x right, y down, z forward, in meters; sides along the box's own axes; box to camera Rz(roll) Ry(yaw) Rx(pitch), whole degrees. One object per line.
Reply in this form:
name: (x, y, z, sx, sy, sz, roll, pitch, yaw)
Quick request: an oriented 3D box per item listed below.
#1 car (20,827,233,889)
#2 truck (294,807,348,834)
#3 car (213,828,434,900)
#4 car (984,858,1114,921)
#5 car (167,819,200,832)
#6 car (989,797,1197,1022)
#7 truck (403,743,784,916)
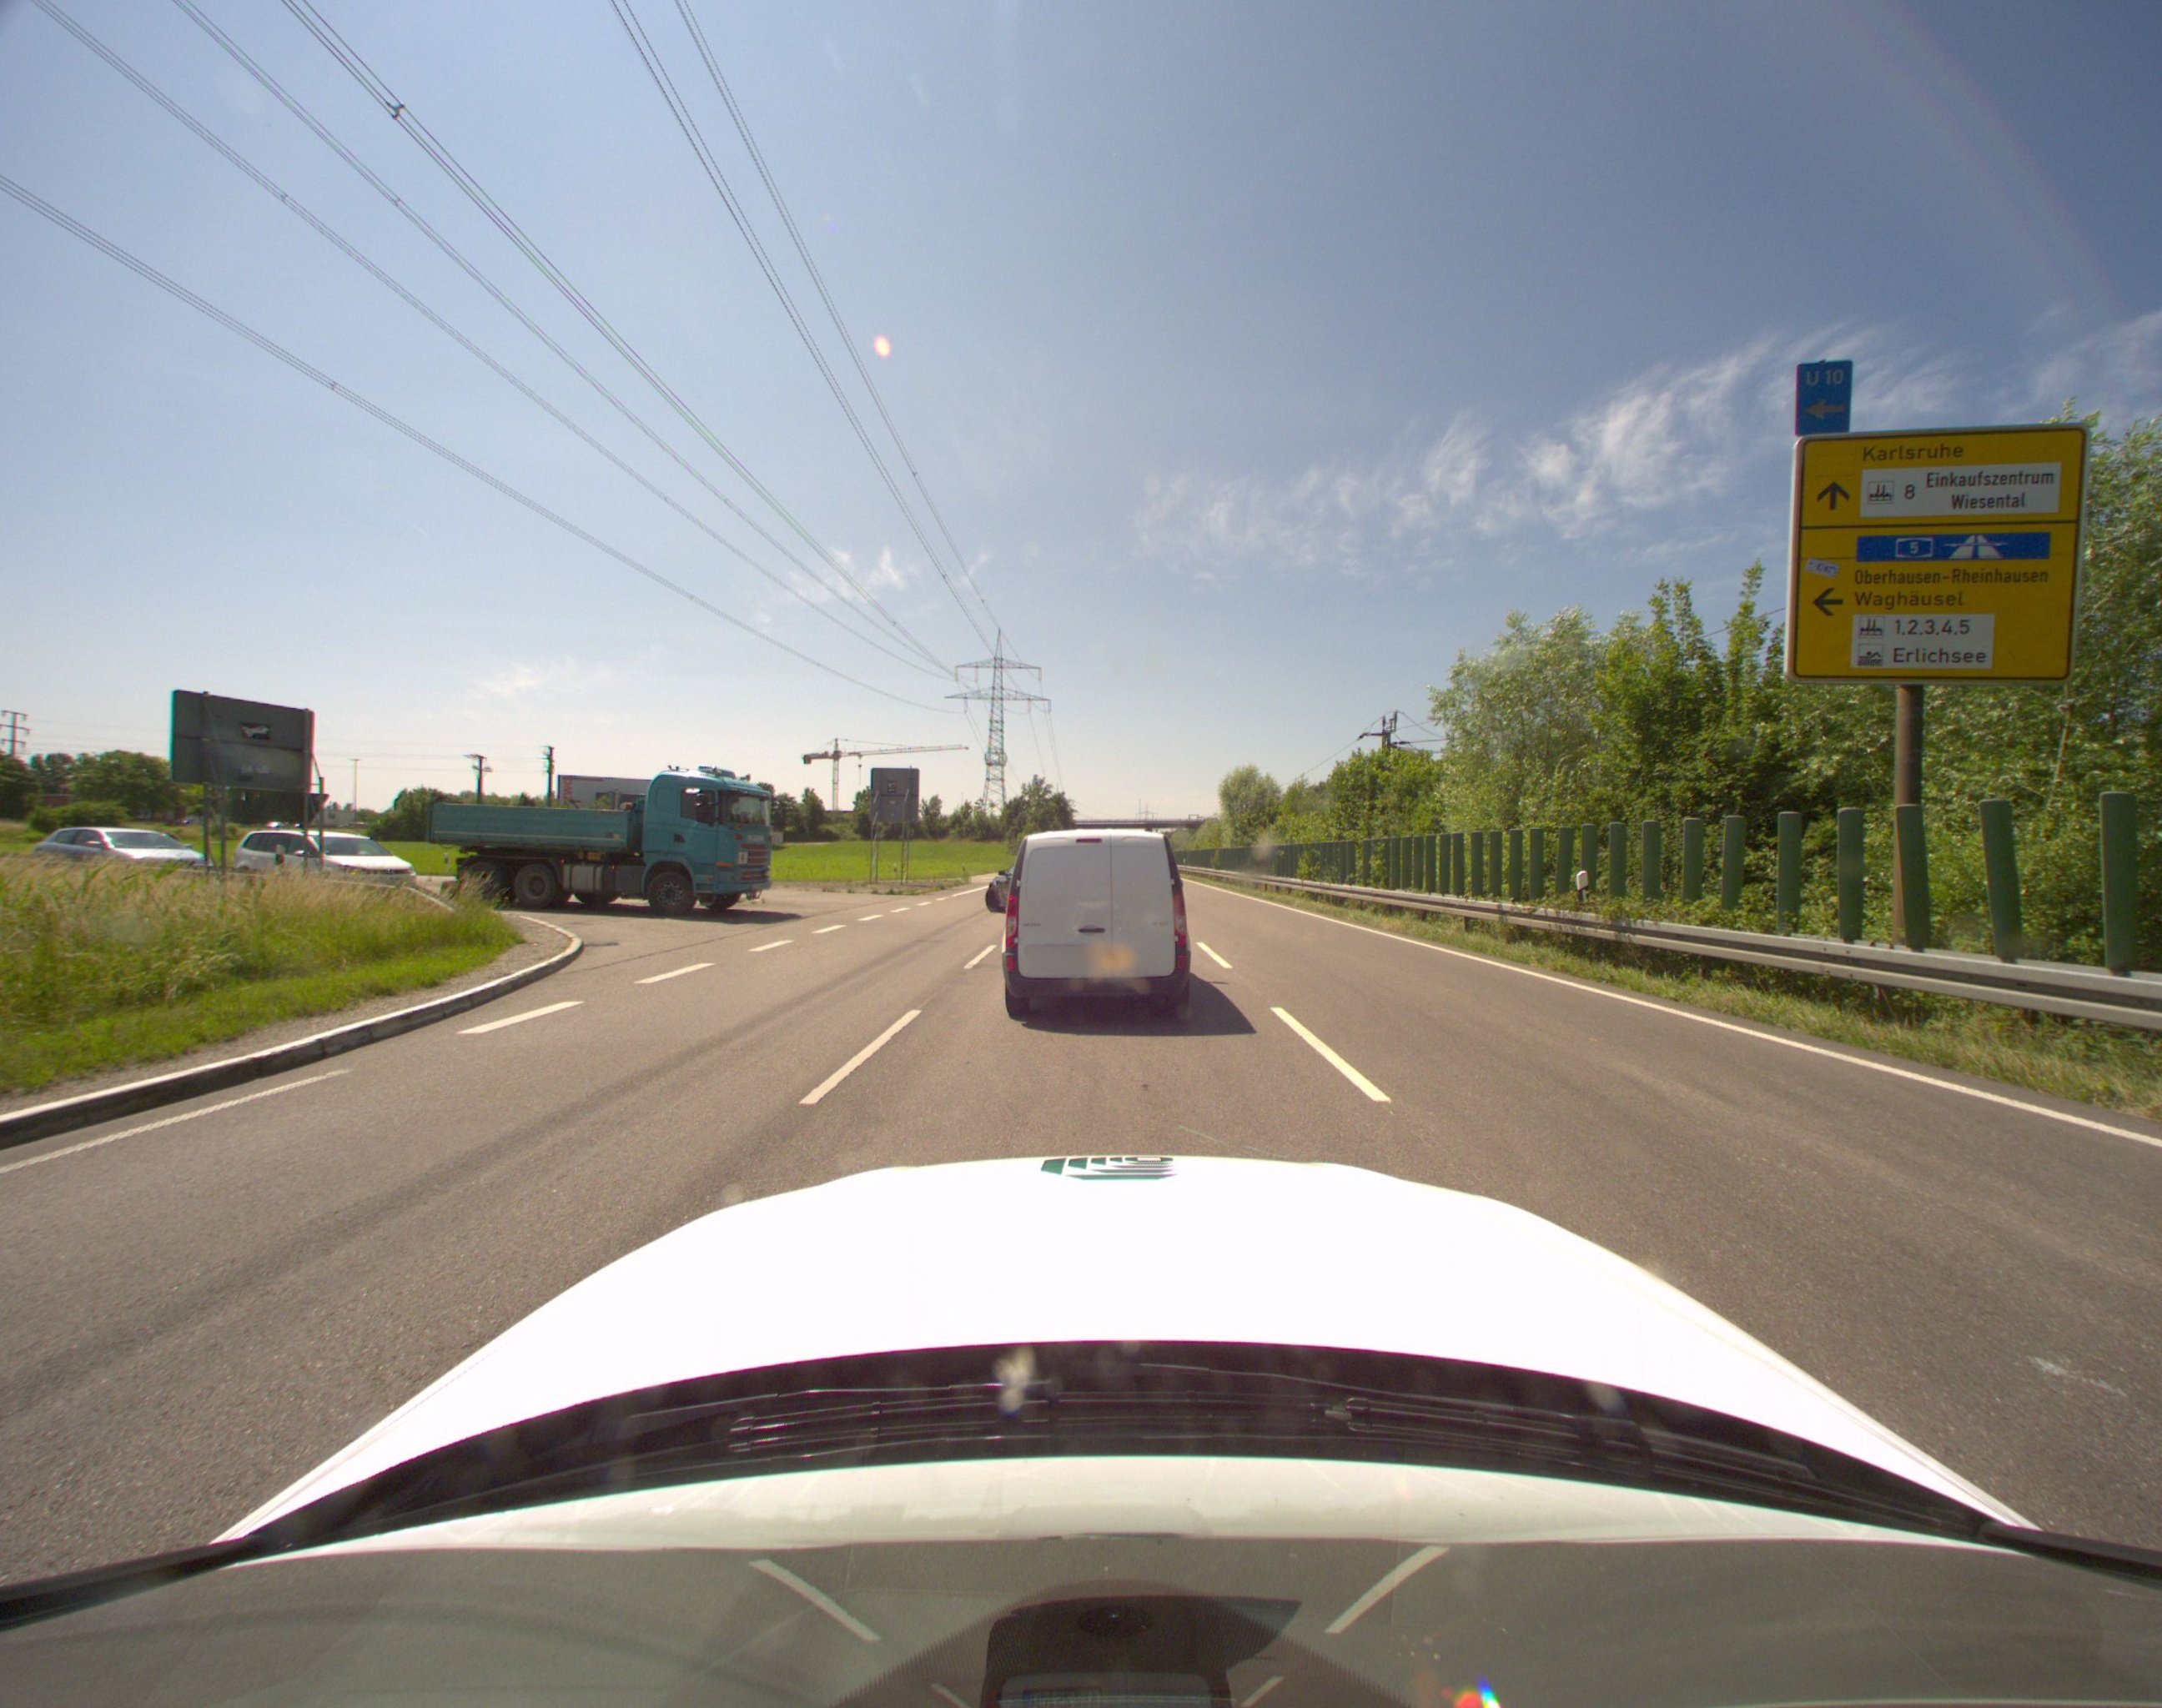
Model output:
car: (-25.178, 0.091, 21.528, 4.402, 1.470, 1.724, 1, 0, 12)
truck: (-147.377, -6.397, 158.217, 3.696, 4.646, 13.131, 1, 0, -25)
car: (-19.077, 0.214, 20.559, 4.507, 1.612, 1.976, 1, 0, 16)
car: (-0.951, 0.817, 20.766, 1.863, 1.396, 4.619, 1, 0, -22)
car: (-127.510, -3.991, 115.774, 2.006, 1.679, 3.962, 0, 0, -30)
car: (0.151, 0.491, 9.181, 1.820, 1.971, 4.001, 0, 0, 1)
truck: (-11.832, -0.586, 20.159, 7.870, 3.734, 2.500, 2, 0, 3)
